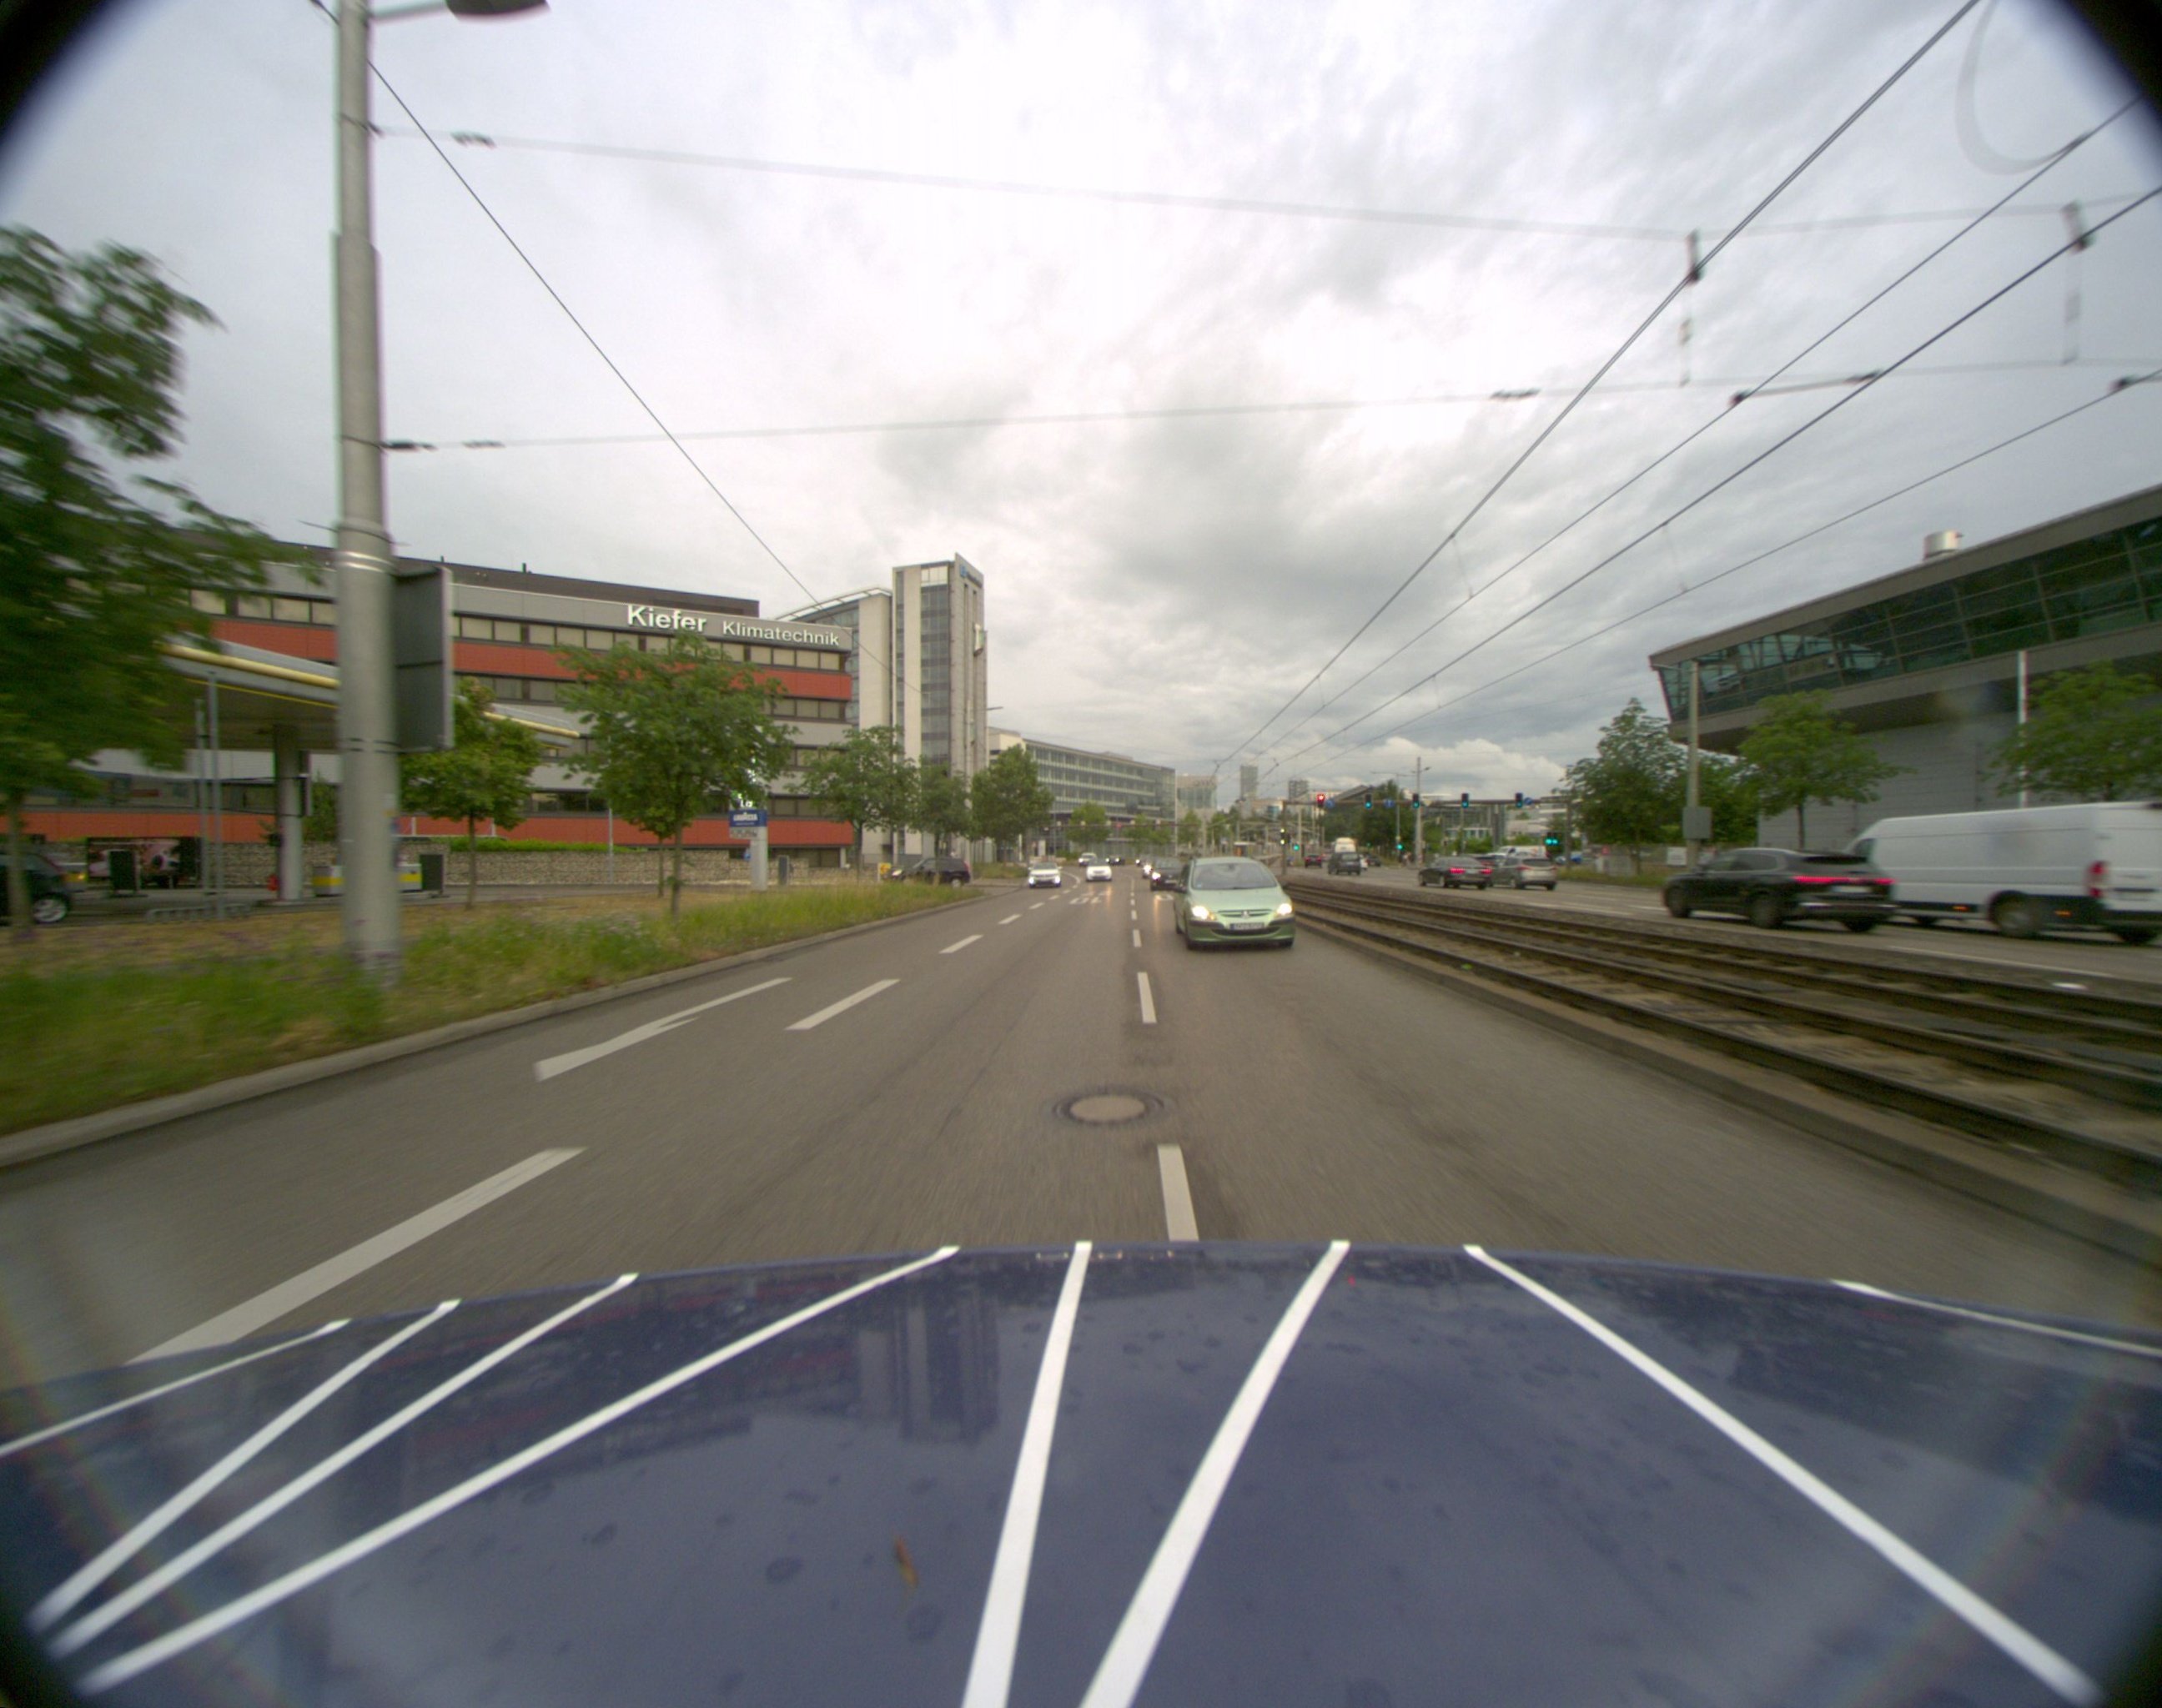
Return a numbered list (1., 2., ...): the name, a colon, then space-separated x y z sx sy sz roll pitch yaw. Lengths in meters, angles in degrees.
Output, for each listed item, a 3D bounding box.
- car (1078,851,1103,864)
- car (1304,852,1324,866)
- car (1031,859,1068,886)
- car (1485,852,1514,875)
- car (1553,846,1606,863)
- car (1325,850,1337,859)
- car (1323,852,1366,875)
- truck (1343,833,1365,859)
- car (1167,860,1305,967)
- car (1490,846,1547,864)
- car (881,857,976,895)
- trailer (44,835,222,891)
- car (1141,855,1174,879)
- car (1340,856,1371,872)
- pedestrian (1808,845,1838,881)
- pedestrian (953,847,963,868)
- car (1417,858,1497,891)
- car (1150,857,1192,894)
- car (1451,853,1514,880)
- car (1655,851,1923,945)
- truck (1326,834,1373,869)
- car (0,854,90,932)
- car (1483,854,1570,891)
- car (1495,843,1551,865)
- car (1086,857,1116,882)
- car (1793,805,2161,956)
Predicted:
1. car: 1.227 0.469 95.353 1.887 1.584 3.987 0 0 20
2. car: 26.920 0.610 87.957 1.819 1.565 4.003 0 0 10
3. car: -1.833 1.080 45.543 1.878 1.485 3.837 -1 0 2
4. car: 34.317 0.747 62.350 1.811 1.814 3.878 0 0 25
5. car: 50.898 0.035 77.677 4.252 1.705 1.912 0 0 -4
6. car: 44.848 0.060 136.410 1.813 1.565 4.006 0 0 22
7. car: 20.447 0.725 59.135 1.998 1.721 4.680 1 0 4
8. truck: 47.960 -1.397 133.321 3.261 4.502 7.104 0 0 23
9. car: 2.584 0.916 13.599 1.762 1.489 4.138 -3 0 3
10. car: 44.329 0.086 77.006 4.661 1.824 1.999 0 0 -3
11. car: -7.838 1.098 39.206 4.366 1.637 1.790 -3 0 -32
12. trailer: -37.560 0.347 30.264 4.005 2.134 1.835 0 0 -24
13. car: 5.388 0.889 54.111 1.762 1.535 3.713 -3 0 -3
14. car: 25.533 0.948 70.764 1.798 1.437 3.925 0 0 5
15. pedestrian: 33.675 0.408 34.483 0.684 1.554 0.627 -3 1 3
16. pedestrian: -11.296 0.316 69.543 0.683 1.889 0.677 -3 1 -22
17. car: 17.676 0.916 35.986 1.951 1.475 4.998 0 0 8
18. car: 4.297 0.971 35.776 1.761 1.535 3.716 -3 0 9
19. car: 26.025 0.760 49.441 1.998 1.673 4.475 0 0 4
20. car: 14.592 0.806 16.098 1.912 1.647 4.363 2 0 7
21. truck: 30.578 -0.244 86.978 4.085 3.734 10.865 0 0 14
22. car: -20.552 0.706 13.151 1.783 1.410 3.783 1 0 3
23. car: 21.293 0.841 36.559 1.944 1.661 4.511 0 0 6
24. car: 47.581 -0.012 81.824 5.063 2.318 1.999 0 0 -7
25. car: 1.413 1.055 51.910 1.818 1.584 3.838 -1 -1 4
26. car: 18.685 0.448 15.732 2.437 2.485 6.552 1 0 9
